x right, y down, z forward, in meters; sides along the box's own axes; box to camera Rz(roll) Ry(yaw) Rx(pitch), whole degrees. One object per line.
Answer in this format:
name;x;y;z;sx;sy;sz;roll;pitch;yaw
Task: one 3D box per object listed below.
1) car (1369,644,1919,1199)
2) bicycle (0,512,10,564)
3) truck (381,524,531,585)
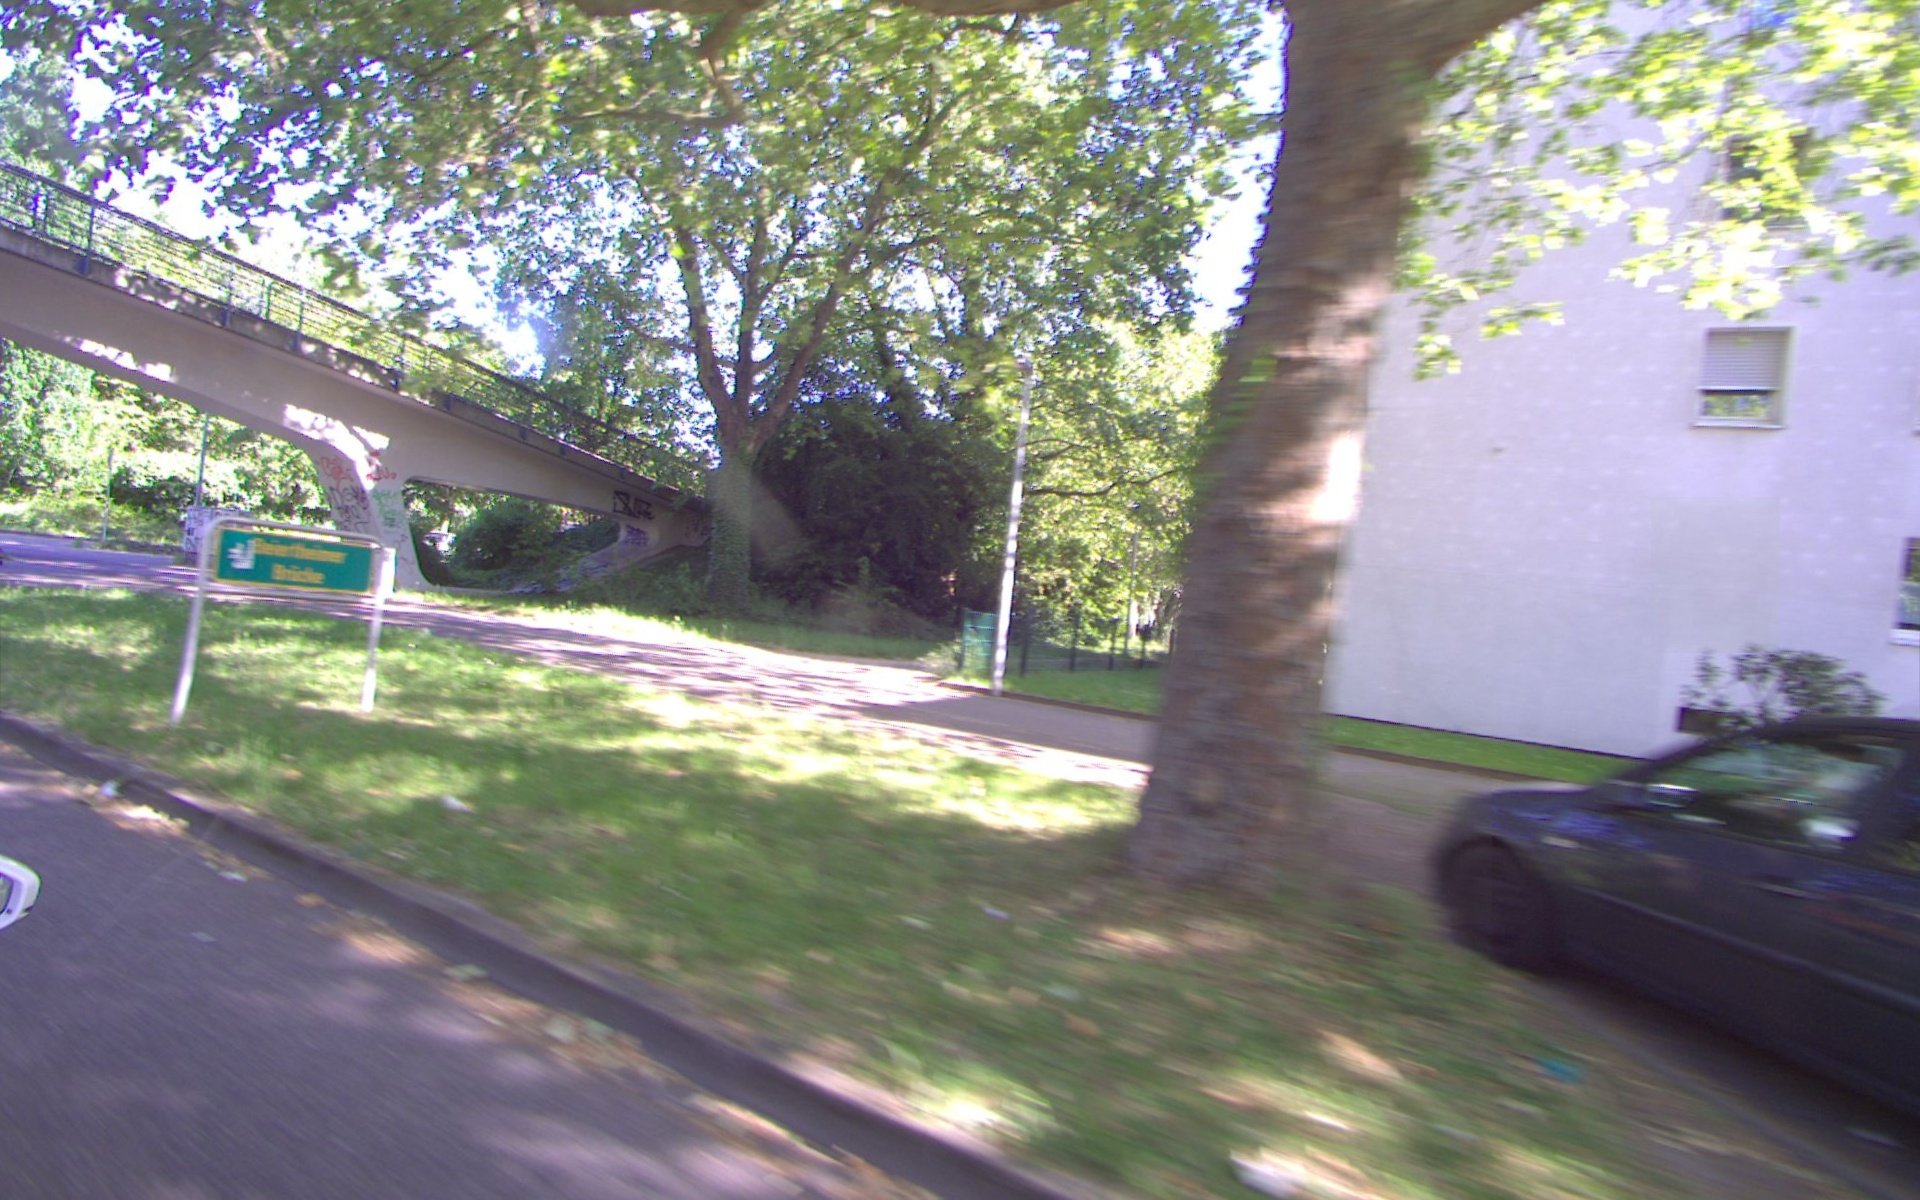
car;3.676;1.153;3.918;1.771;1.481;3.988;6;1;-13
bicycle;-17.279;-1.152;17.644;1.448;0.864;0.505;8;4;30
truck;-24.586;-2.159;49.503;2.082;2.119;6.644;6;-1;24
